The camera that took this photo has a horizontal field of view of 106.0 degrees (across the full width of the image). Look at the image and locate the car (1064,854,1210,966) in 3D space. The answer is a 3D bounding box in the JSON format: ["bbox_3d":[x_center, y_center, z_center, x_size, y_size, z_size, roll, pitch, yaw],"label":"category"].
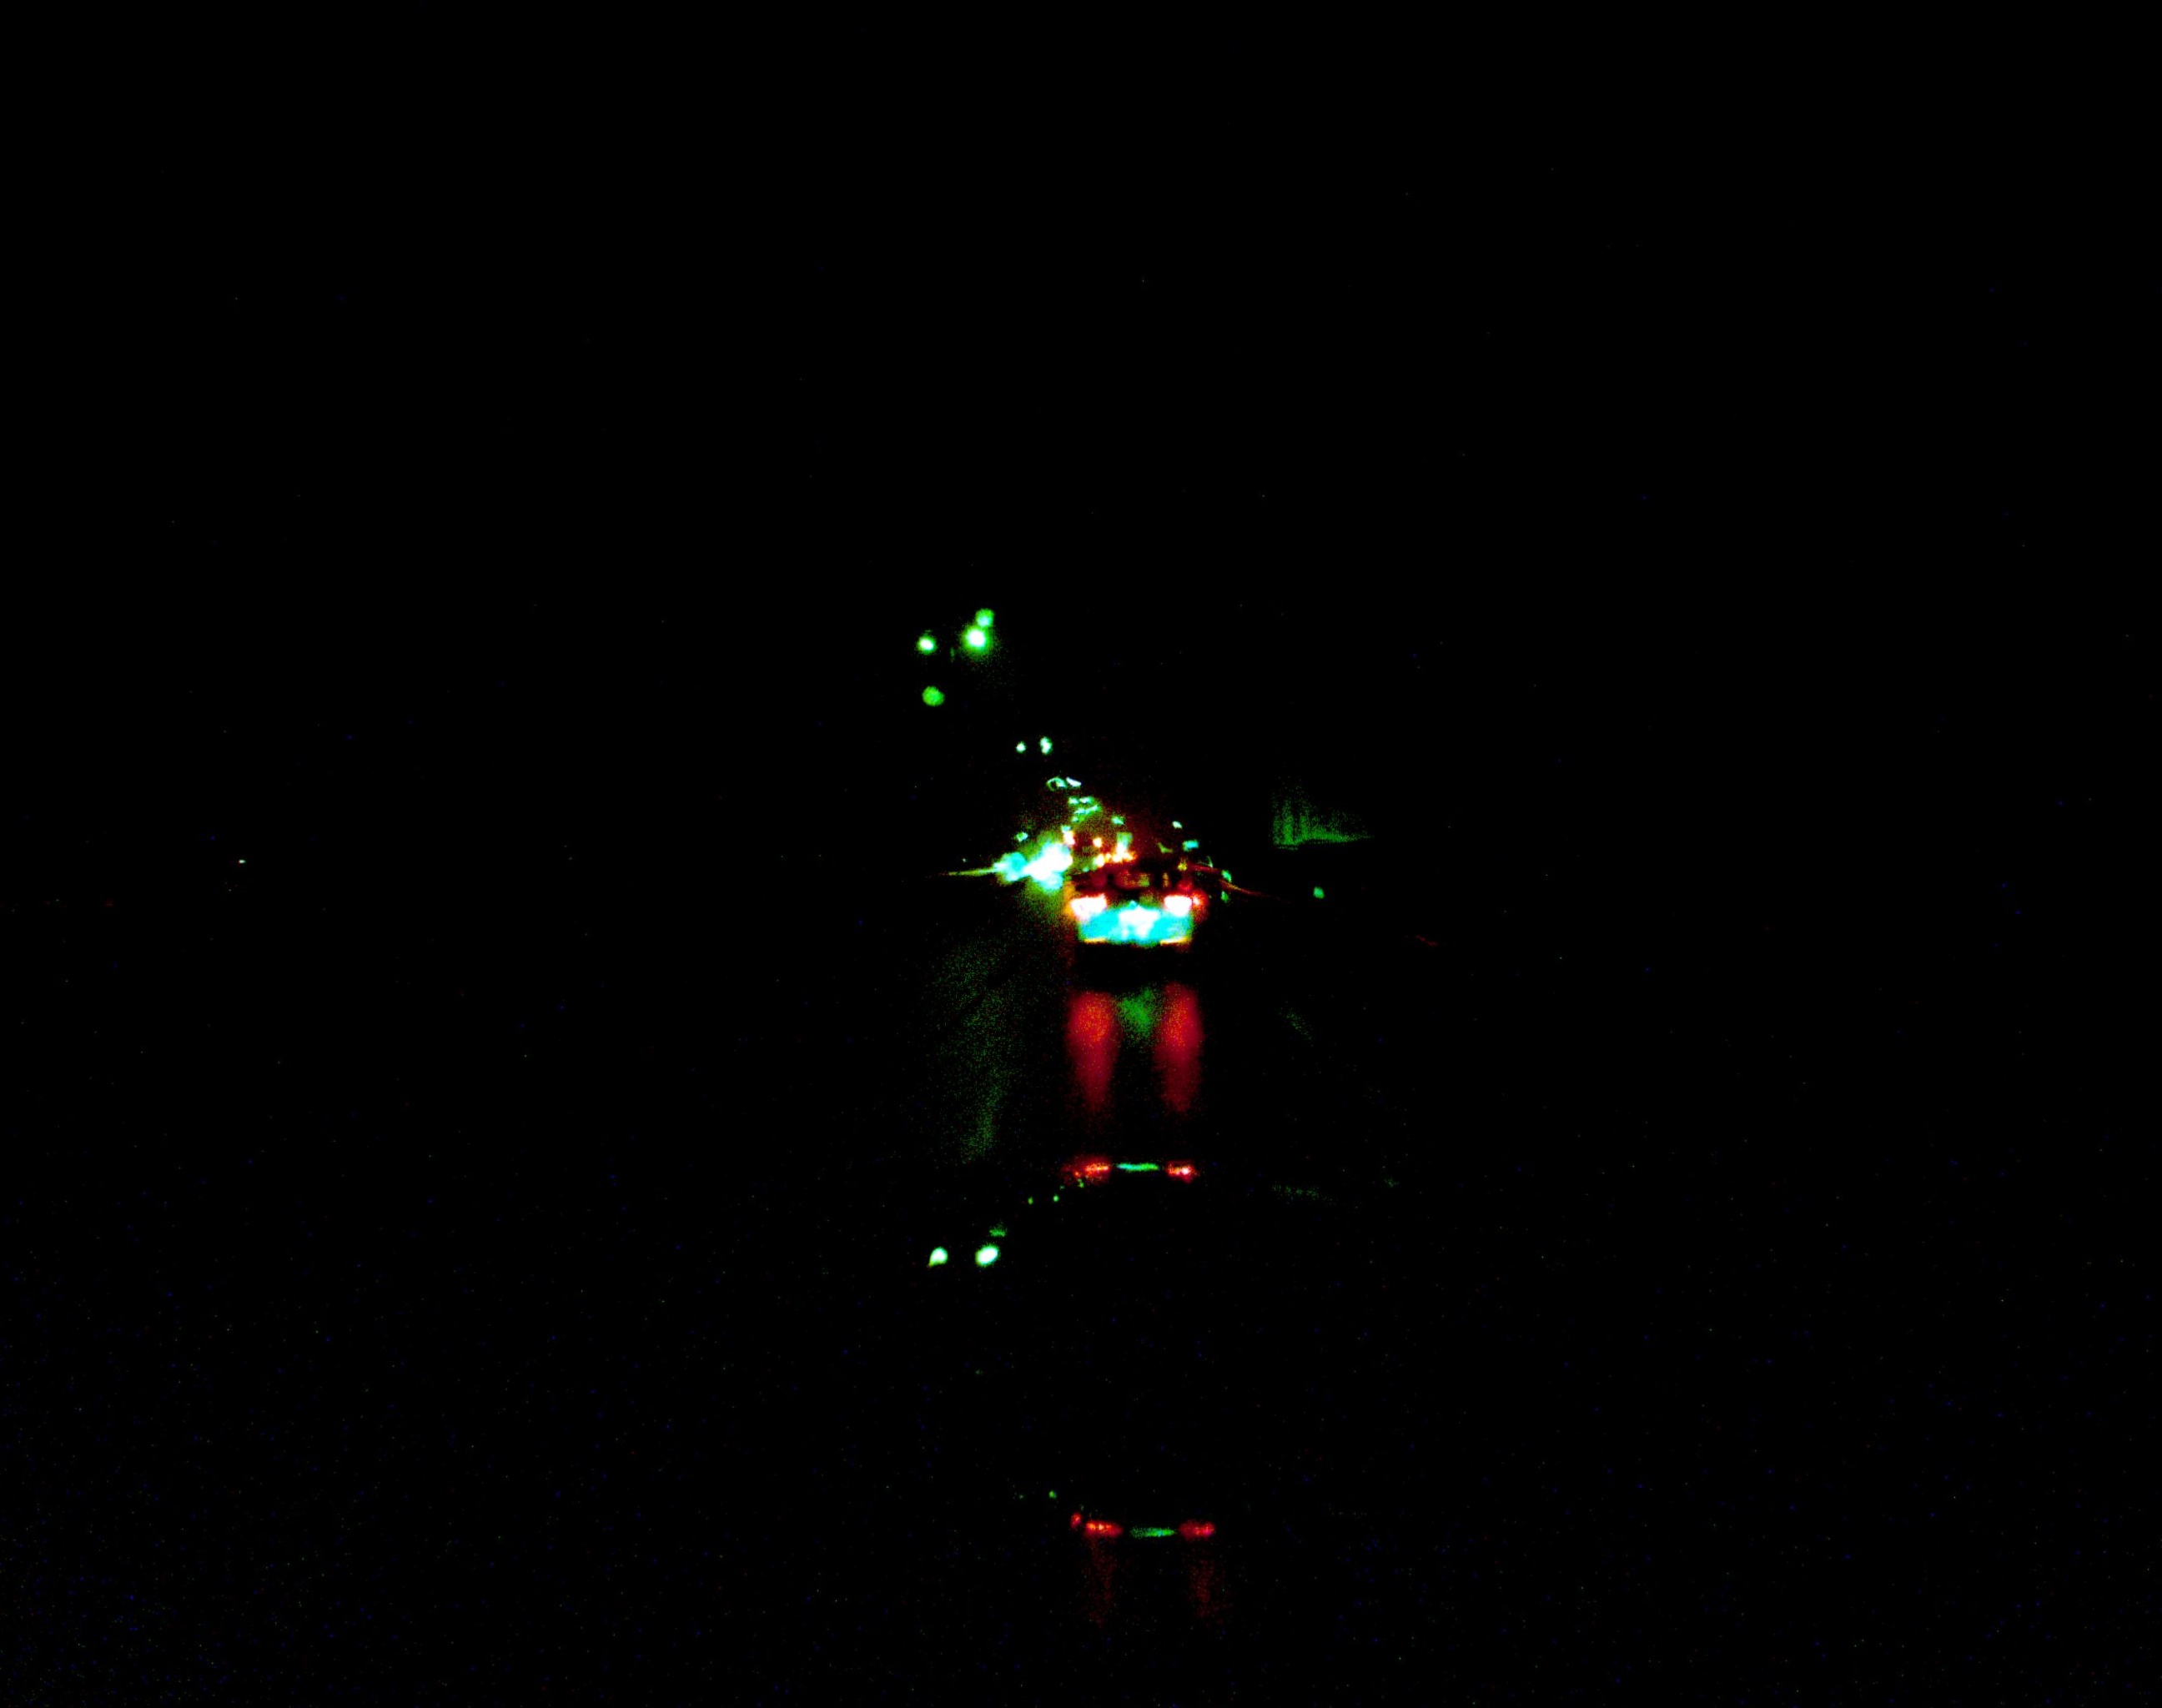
[{"bbox_3d":[0.910,0.784,12.810,1.935,1.491,3.721,-1,-1,5],"label":"car"}]

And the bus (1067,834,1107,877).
[{"bbox_3d":[0.586,0.122,64.073,2.732,3.123,9.208,1,0,3],"label":"bus"}]

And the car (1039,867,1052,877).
[{"bbox_3d":[-5.616,2.855,130.374,1.593,1.552,3.837,0,-2,4],"label":"car"}]

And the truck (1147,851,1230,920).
[{"bbox_3d":[4.448,1.272,33.924,3.053,2.529,7.179,0,-2,7],"label":"truck"}]
